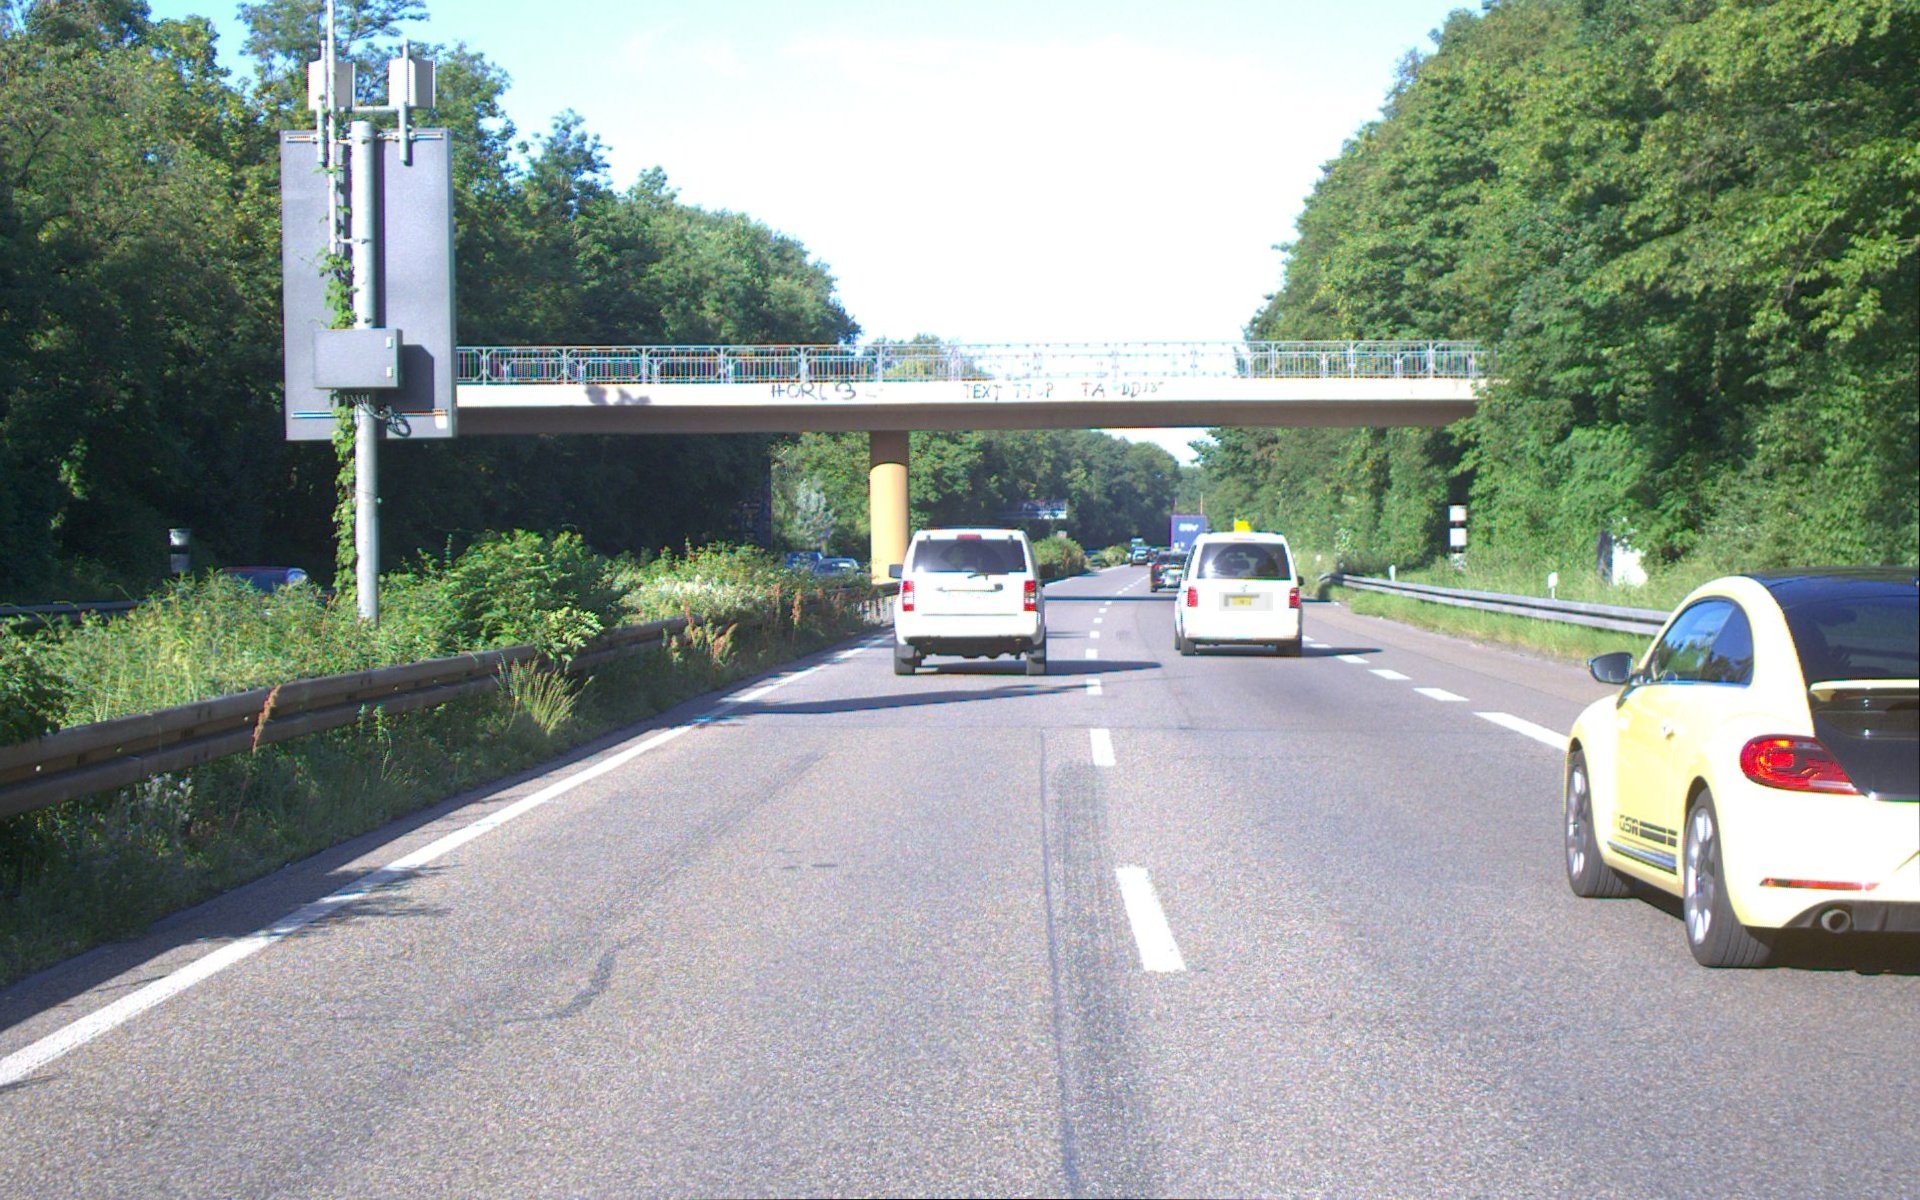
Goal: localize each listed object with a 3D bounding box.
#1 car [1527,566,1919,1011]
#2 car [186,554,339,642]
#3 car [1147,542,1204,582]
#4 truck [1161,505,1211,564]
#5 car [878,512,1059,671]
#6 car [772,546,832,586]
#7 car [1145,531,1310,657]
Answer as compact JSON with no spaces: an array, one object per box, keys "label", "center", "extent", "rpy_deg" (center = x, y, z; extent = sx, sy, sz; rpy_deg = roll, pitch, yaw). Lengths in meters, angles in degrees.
[{"label":"car","center":[3.561,0.618,13.746],"extent":[1.879,1.456,4.356],"rpy_deg":[0,1,0]},{"label":"car","center":[-11.783,-0.054,58.306],"extent":[1.709,1.420,4.133],"rpy_deg":[0,1,0]},{"label":"car","center":[7.773,-1.371,124.069],"extent":[1.994,1.393,4.000],"rpy_deg":[-1,1,4]},{"label":"truck","center":[16.365,-4.748,248.942],"extent":[3.496,4.158,8.861],"rpy_deg":[-1,1,4]},{"label":"car","center":[0.108,-0.128,42.323],"extent":[2.085,1.822,4.000],"rpy_deg":[1,1,0]},{"label":"car","center":[-6.626,-1.445,144.446],"extent":[1.961,1.653,5.040],"rpy_deg":[-1,1,4]},{"label":"car","center":[3.907,-0.116,50.907],"extent":[1.863,1.764,4.470],"rpy_deg":[-1,1,-3]}]
